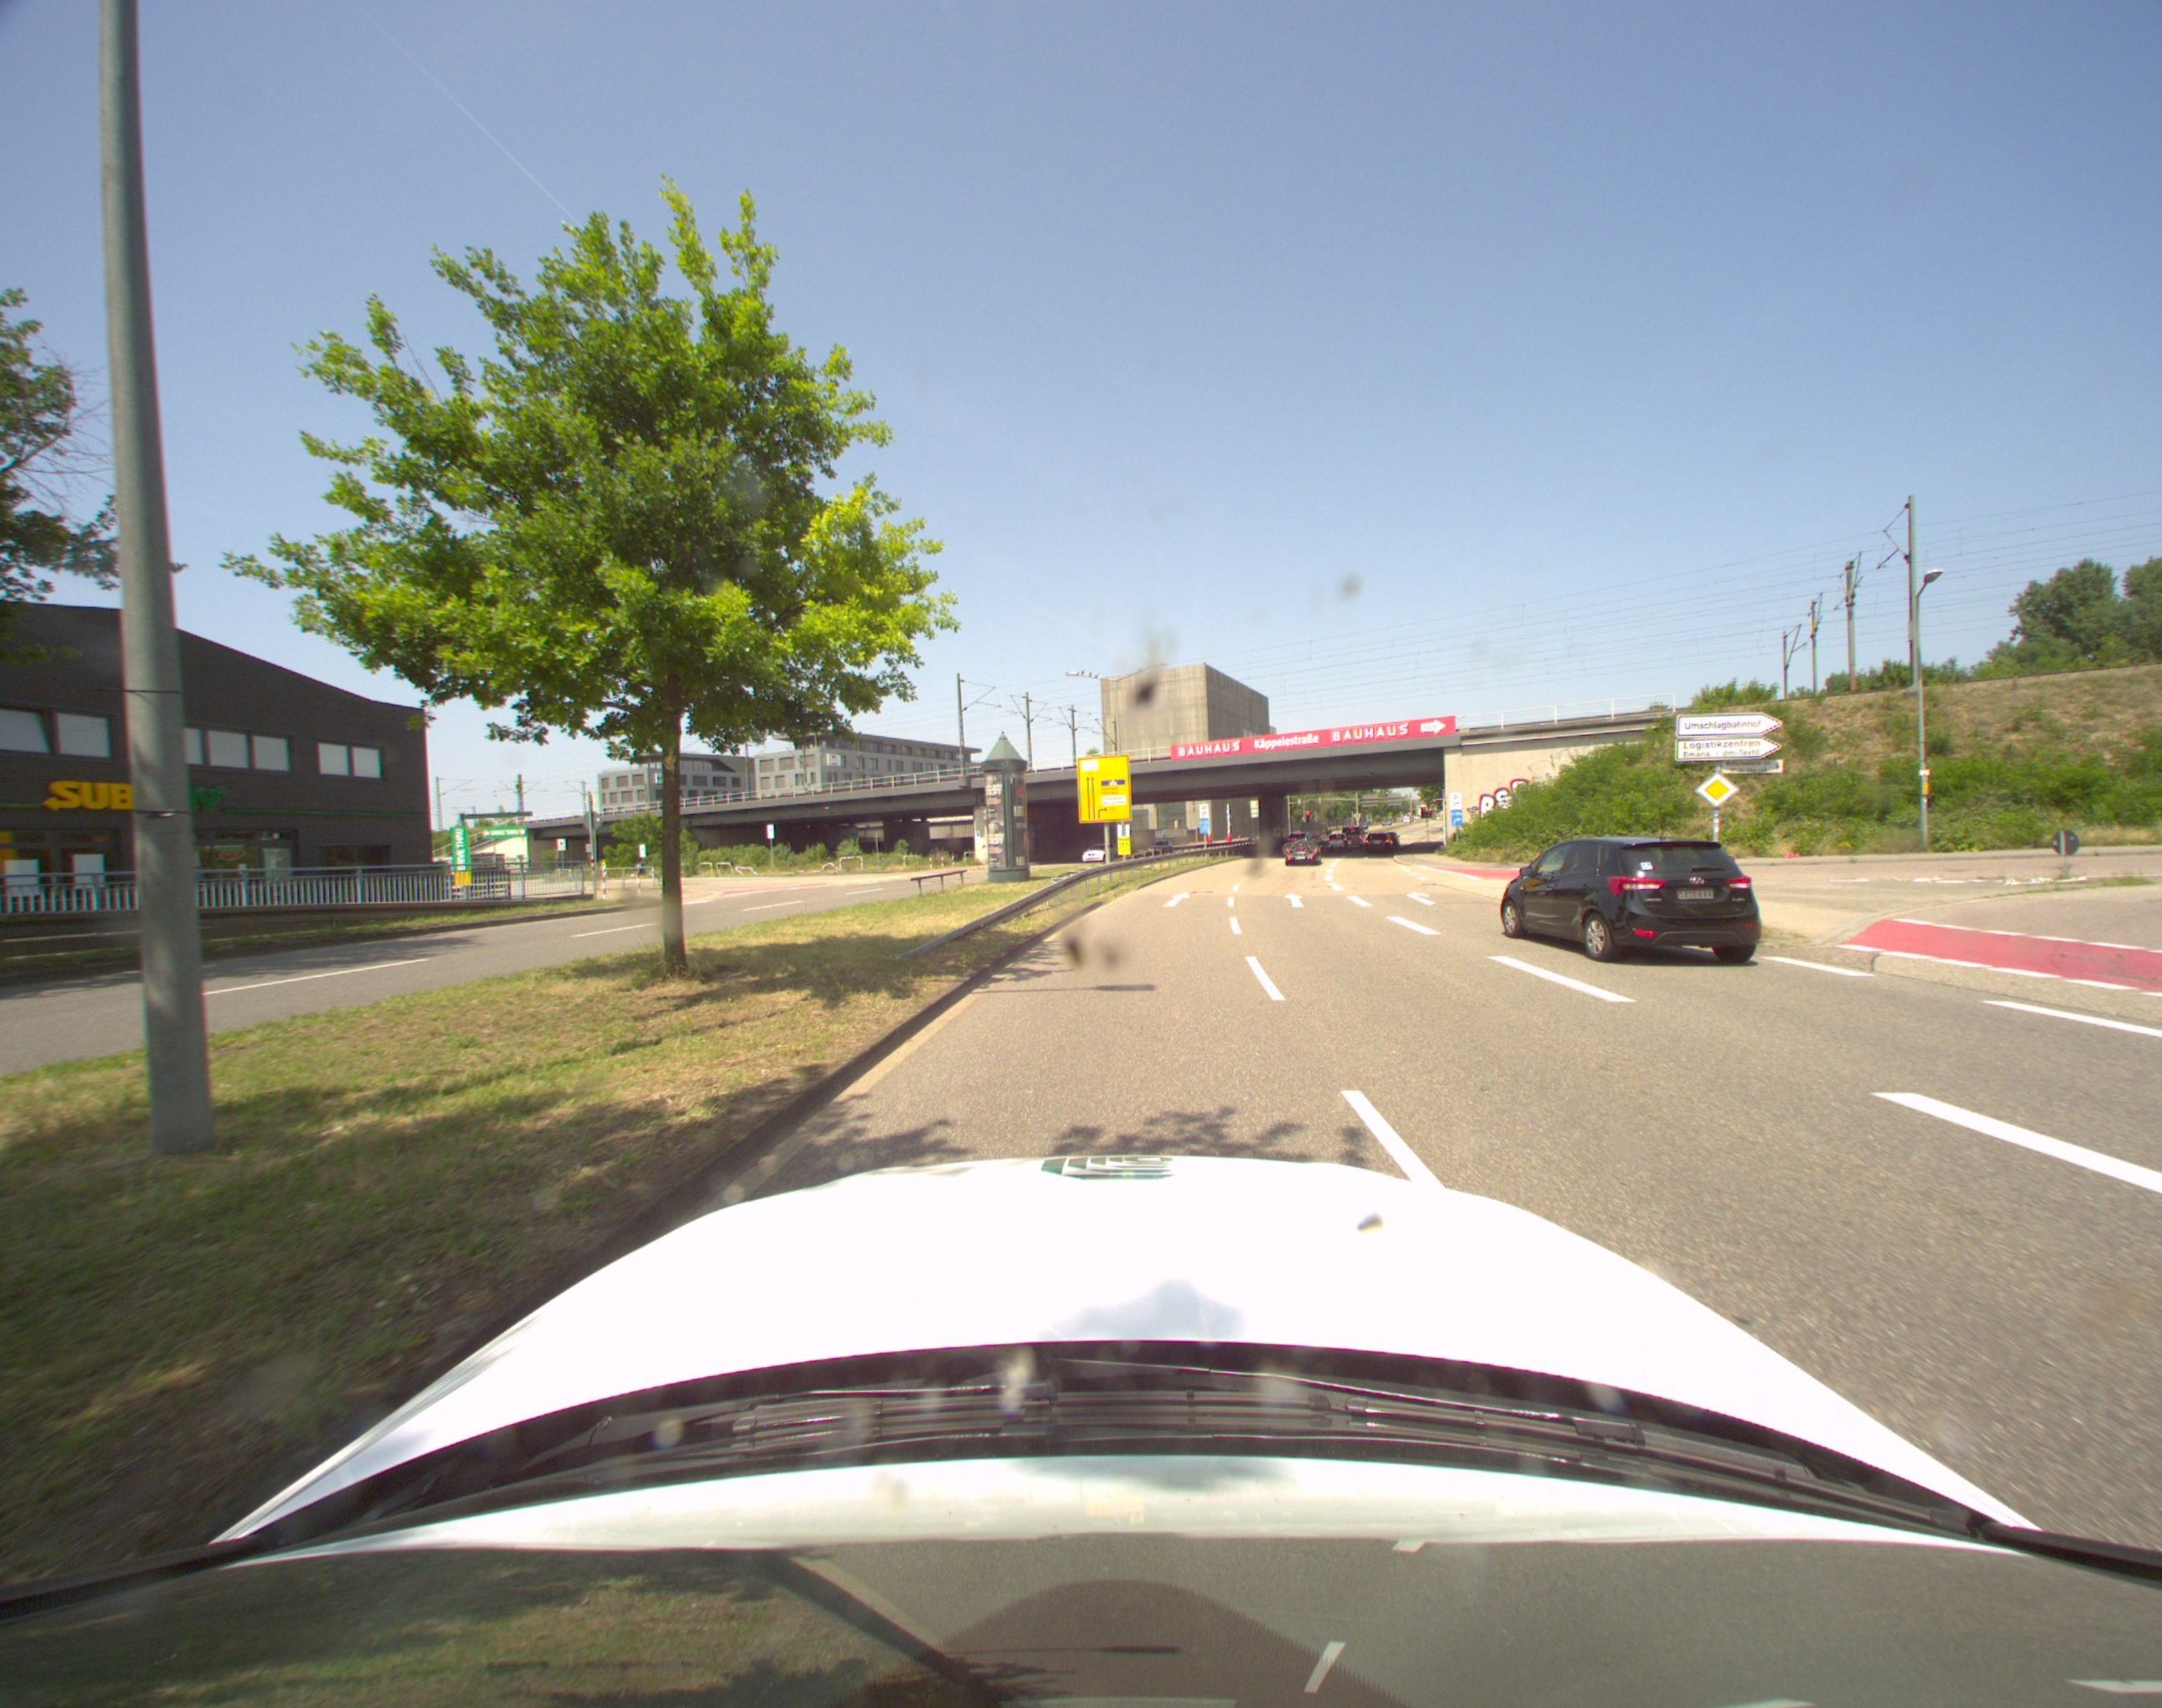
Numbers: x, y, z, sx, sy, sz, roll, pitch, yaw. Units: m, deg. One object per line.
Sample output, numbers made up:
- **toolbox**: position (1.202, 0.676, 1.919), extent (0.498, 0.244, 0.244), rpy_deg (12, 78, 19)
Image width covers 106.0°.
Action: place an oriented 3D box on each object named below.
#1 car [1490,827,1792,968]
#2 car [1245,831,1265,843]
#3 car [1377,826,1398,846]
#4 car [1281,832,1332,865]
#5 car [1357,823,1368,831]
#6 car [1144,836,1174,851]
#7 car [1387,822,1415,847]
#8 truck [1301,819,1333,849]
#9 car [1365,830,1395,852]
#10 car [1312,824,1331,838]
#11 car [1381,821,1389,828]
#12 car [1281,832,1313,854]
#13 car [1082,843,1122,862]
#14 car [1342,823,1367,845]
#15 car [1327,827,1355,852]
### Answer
- **car**: position (7.479, 0.460, 11.440), extent (1.758, 1.599, 4.085), rpy_deg (-2, 1, 6)
- **car**: position (24.467, -2.379, 114.524), extent (1.837, 1.622, 4.023), rpy_deg (-1, 1, 24)
- **car**: position (31.156, -1.835, 82.776), extent (1.824, 1.890, 4.022), rpy_deg (-1, 1, 23)
- **car**: position (12.148, -0.338, 43.729), extent (1.939, 1.633, 4.305), rpy_deg (-1, 1, 24)
- **car**: position (56.378, -5.388, 162.876), extent (1.838, 1.622, 4.022), rpy_deg (-1, 1, 23)
- **car**: position (8.231, -1.102, 85.669), extent (1.975, 1.441, 4.023), rpy_deg (-4, -1, 24)
- **car**: position (27.839, -1.703, 70.774), extent (1.975, 2.013, 4.023), rpy_deg (-4, 0, 24)
- **truck**: position (21.642, -1.852, 74.589), extent (2.048, 2.537, 4.024), rpy_deg (-3, 0, 27)
- **car**: position (22.279, -0.976, 60.583), extent (1.824, 1.568, 4.022), rpy_deg (-1, 1, 23)
- **car**: position (38.079, -3.713, 128.959), extent (1.975, 2.013, 4.025), rpy_deg (-4, 0, 27)
- **car**: position (75.954, -7.473, 203.336), extent (1.838, 1.622, 4.022), rpy_deg (-2, 0, 22)
- **car**: position (18.113, -0.968, 68.187), extent (1.923, 1.721, 4.023), rpy_deg (-1, 1, 23)
- **car**: position (1.674, -0.129, 63.101), extent (1.639, 1.379, 4.241), rpy_deg (-1, 1, 23)
- **car**: position (25.252, -1.820, 75.131), extent (1.824, 1.890, 4.022), rpy_deg (-1, 1, 23)
- **car**: position (21.539, -1.210, 67.403), extent (1.824, 1.890, 4.022), rpy_deg (-1, 1, 23)
